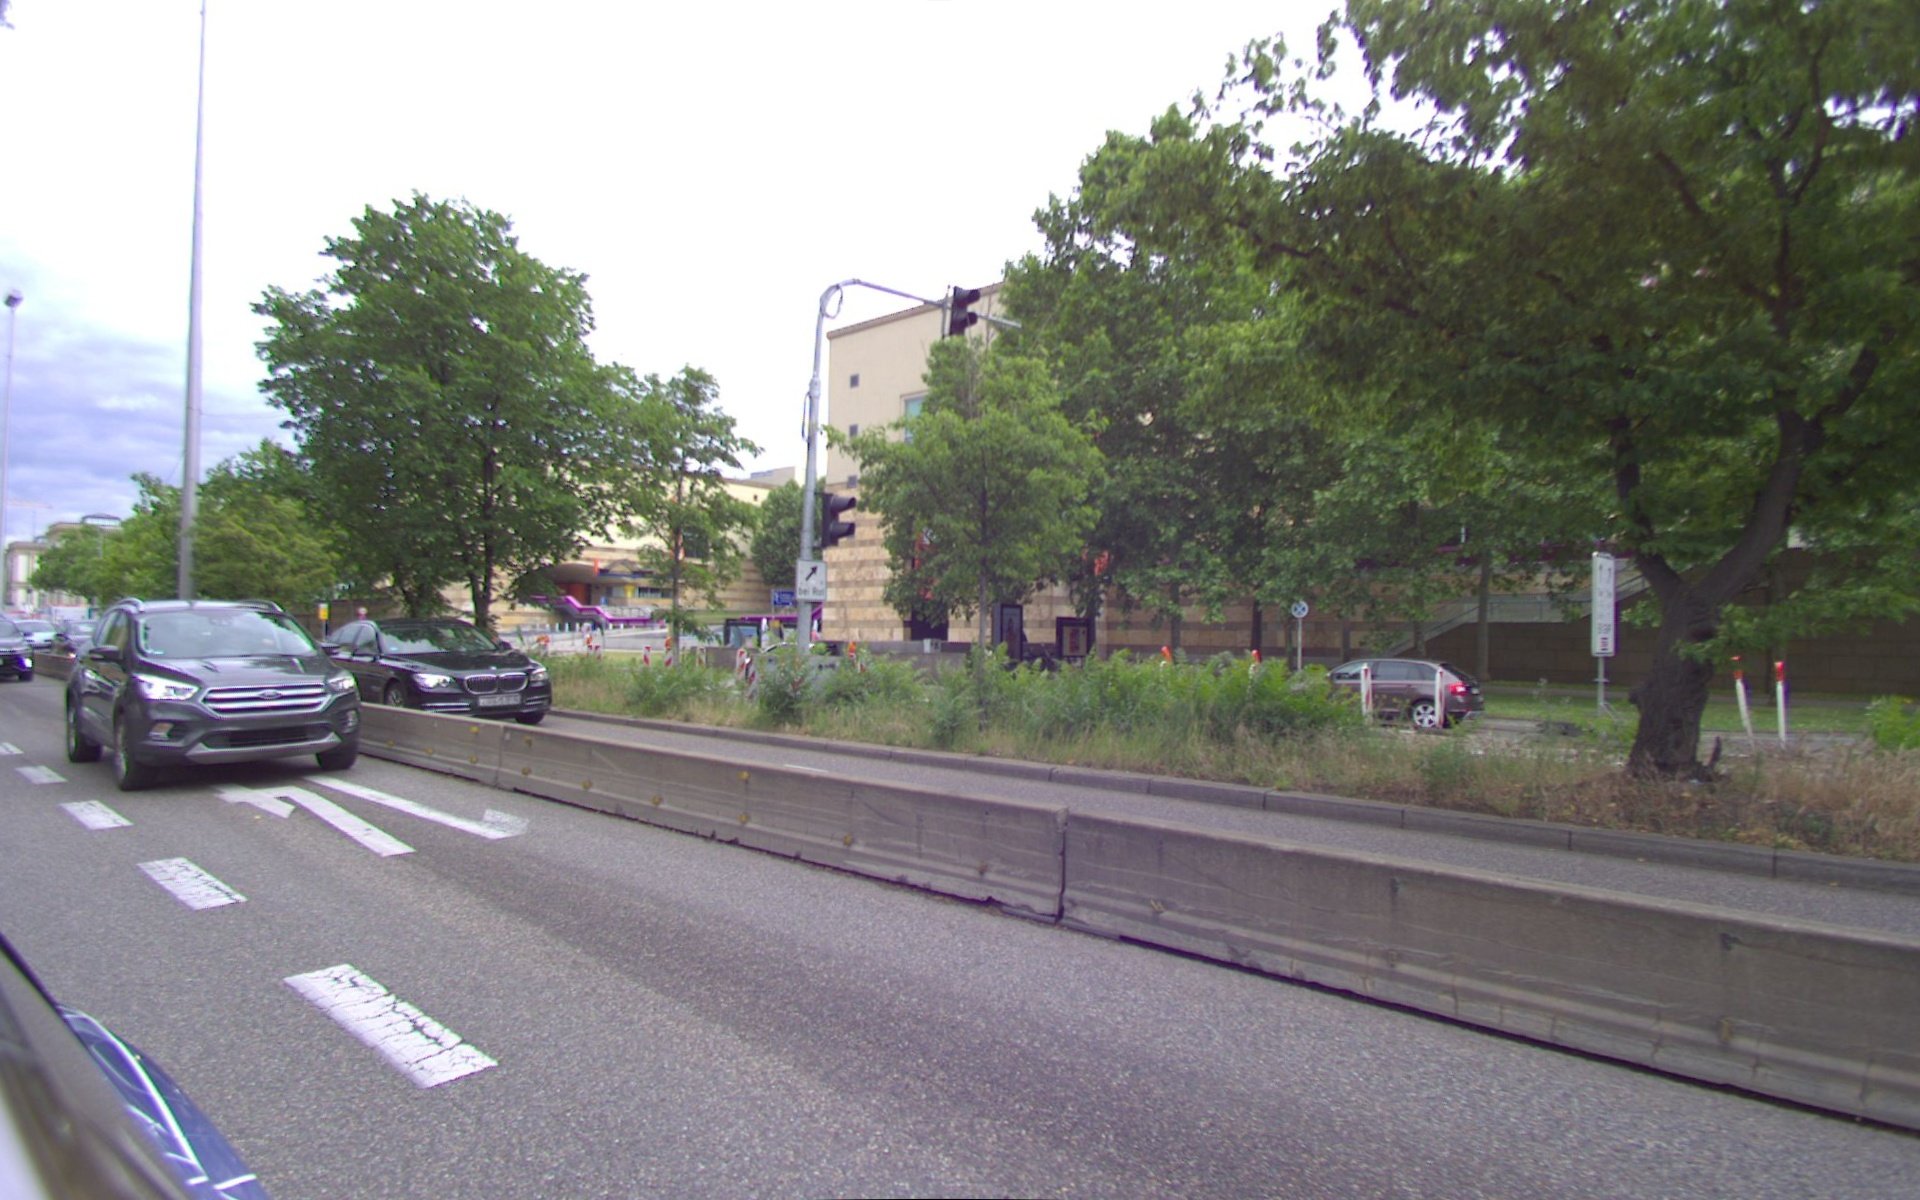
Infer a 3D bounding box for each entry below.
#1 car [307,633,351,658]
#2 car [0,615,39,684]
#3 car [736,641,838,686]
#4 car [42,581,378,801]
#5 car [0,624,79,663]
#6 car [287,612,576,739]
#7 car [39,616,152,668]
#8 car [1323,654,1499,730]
[{"bbox_3d":[-41.954,3.020,67.276,3.577,1.621,1.561,-1,-3,42],"label":"car"},{"bbox_3d":[-23.162,1.136,23.869,4.152,1.527,1.744,0,-1,42],"label":"car"},{"bbox_3d":[-5.887,2.111,34.158,3.735,1.298,1.338,0,0,41],"label":"car"},{"bbox_3d":[-7.730,0.779,10.239,4.657,1.728,1.873,-2,-2,42],"label":"car"},{"bbox_3d":[-37.188,1.716,40.687,4.806,1.494,1.973,-1,-3,41],"label":"car"},{"bbox_3d":[-7.556,0.964,14.247,4.806,1.494,1.973,-1,-2,41],"label":"car"},{"bbox_3d":[-27.050,1.295,31.629,4.806,1.494,1.973,-1,-2,41],"label":"car"},{"bbox_3d":[9.269,1.844,20.893,3.055,1.298,1.338,0,0,41],"label":"car"}]
